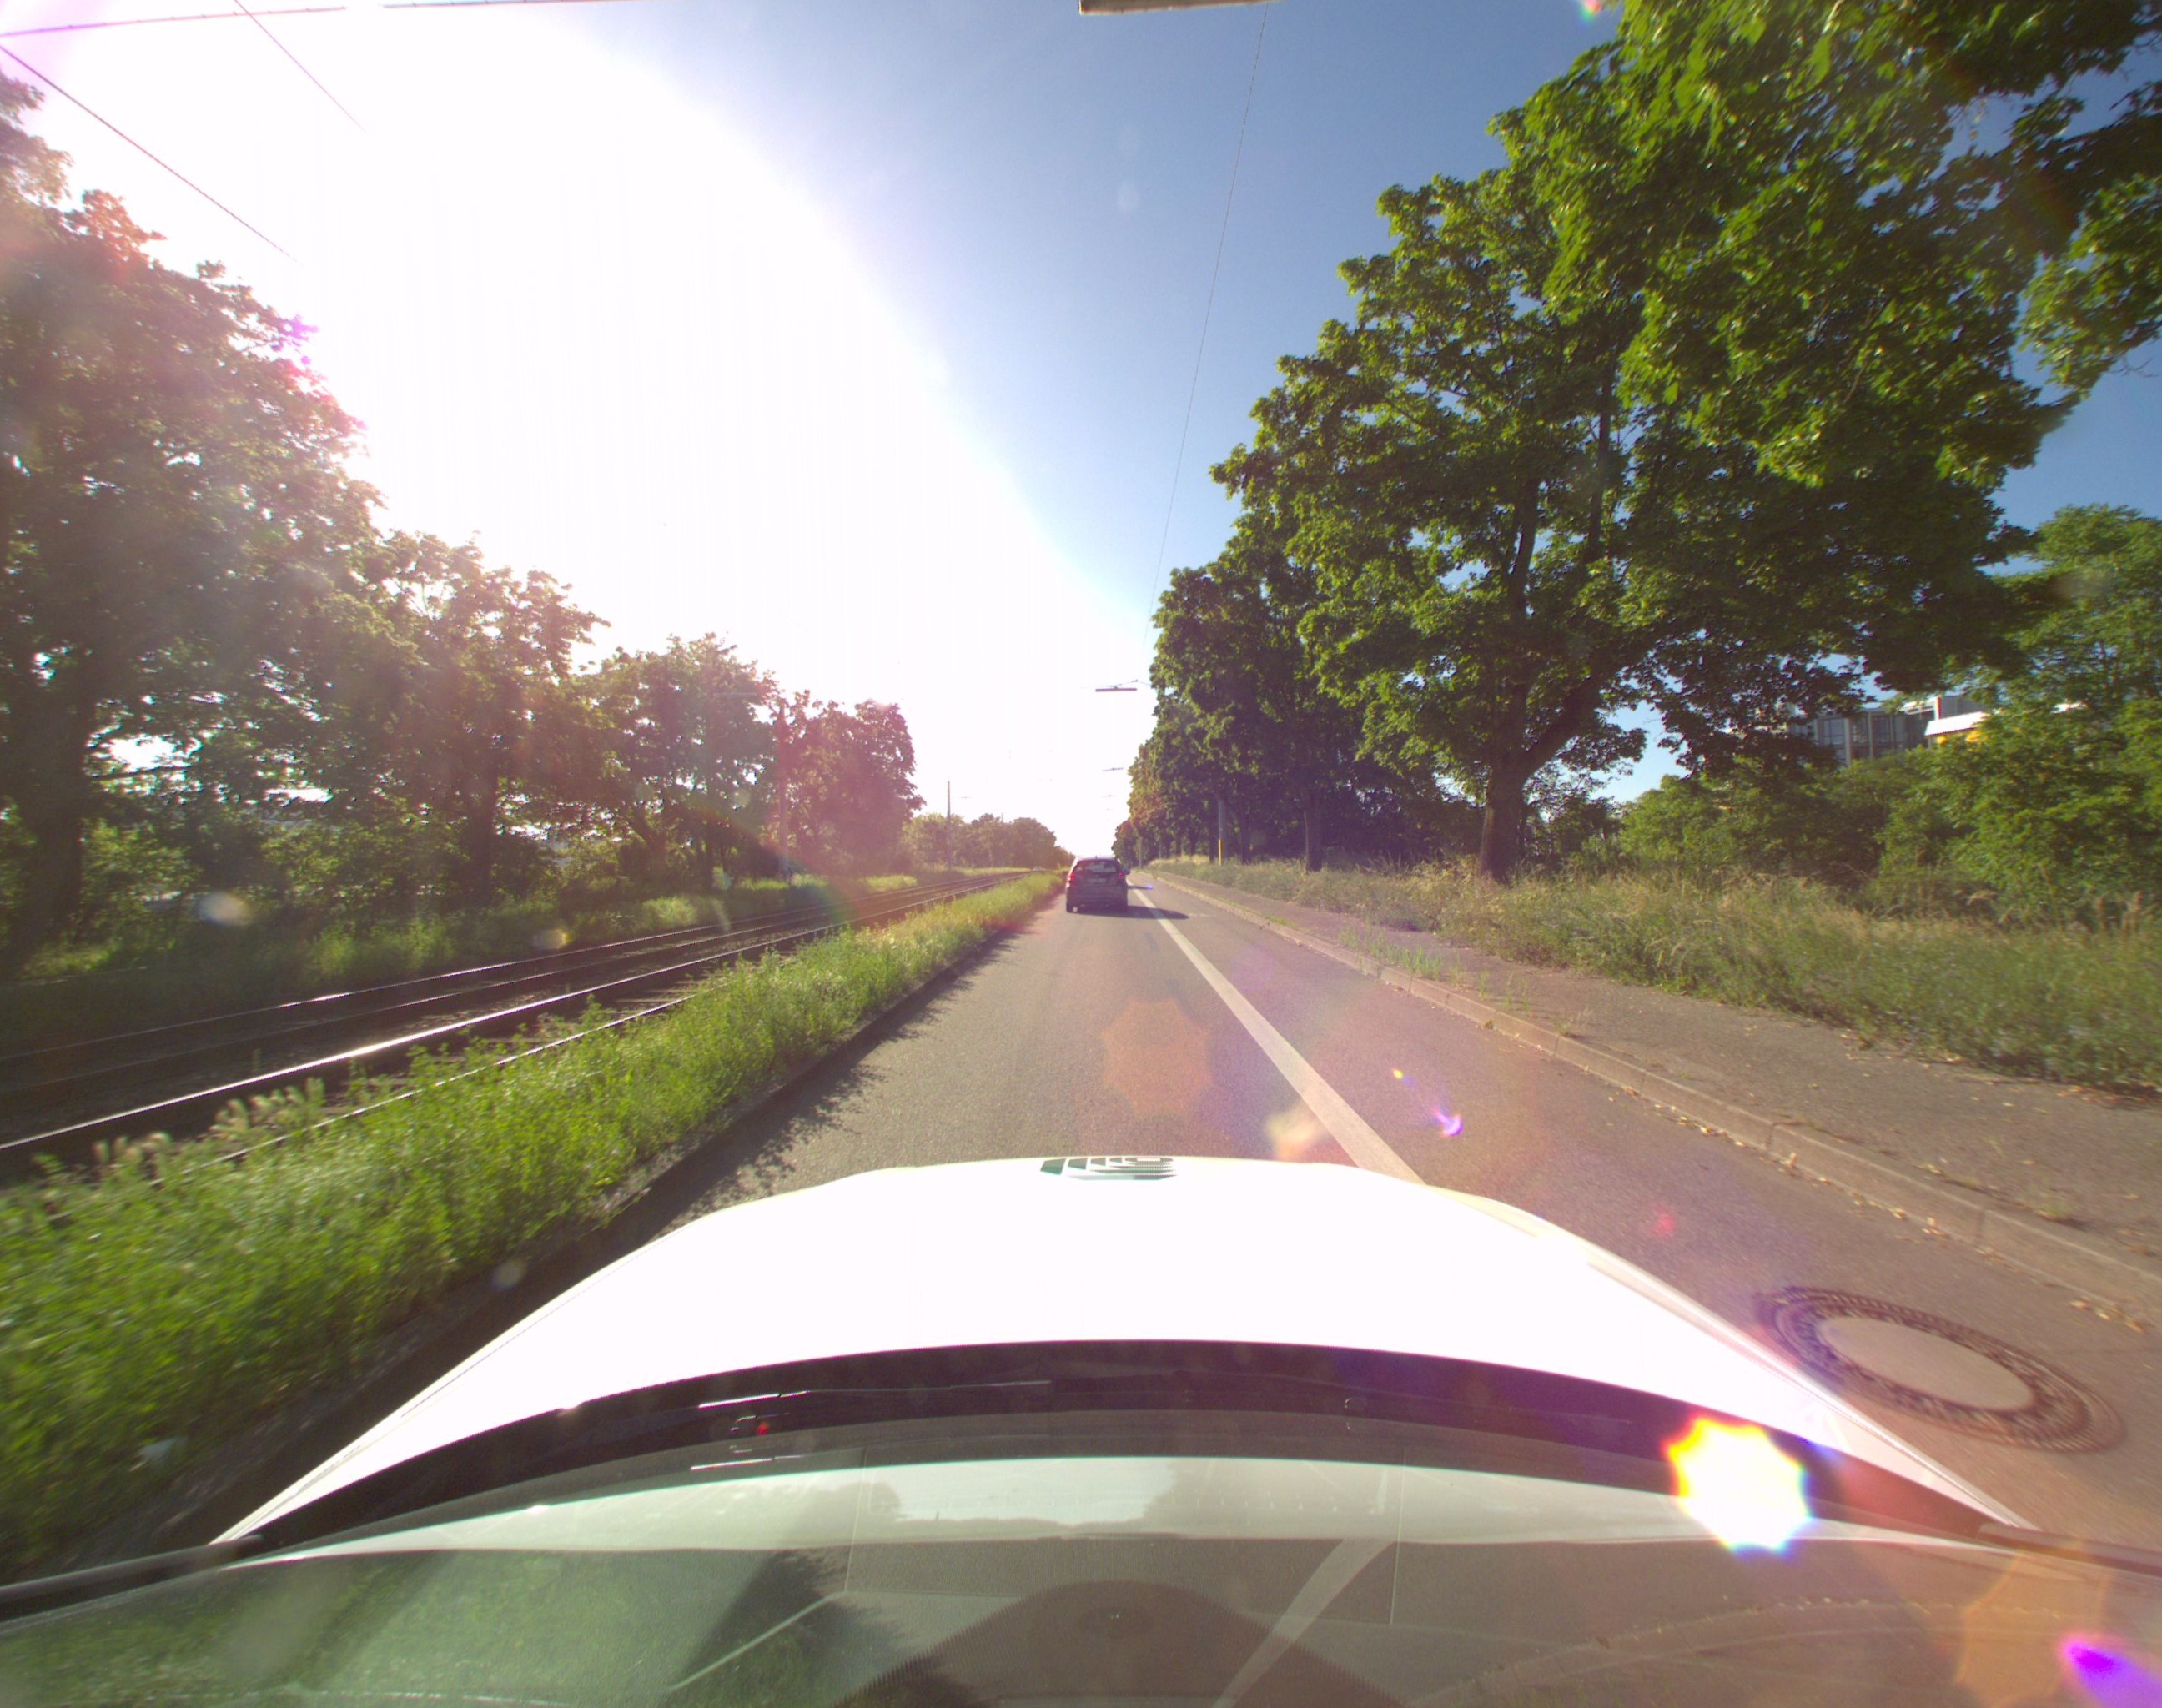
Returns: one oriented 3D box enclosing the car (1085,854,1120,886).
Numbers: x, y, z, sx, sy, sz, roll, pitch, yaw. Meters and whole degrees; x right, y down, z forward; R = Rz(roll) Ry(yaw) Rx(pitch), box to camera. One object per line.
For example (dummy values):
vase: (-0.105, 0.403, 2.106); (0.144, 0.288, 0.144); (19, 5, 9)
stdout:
car: (1.100, 0.784, 40.398); (1.648, 1.507, 3.813); (0, 0, 2)

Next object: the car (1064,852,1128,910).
car: (0.426, 0.718, 23.196); (1.664, 1.507, 3.811); (0, 0, 1)
